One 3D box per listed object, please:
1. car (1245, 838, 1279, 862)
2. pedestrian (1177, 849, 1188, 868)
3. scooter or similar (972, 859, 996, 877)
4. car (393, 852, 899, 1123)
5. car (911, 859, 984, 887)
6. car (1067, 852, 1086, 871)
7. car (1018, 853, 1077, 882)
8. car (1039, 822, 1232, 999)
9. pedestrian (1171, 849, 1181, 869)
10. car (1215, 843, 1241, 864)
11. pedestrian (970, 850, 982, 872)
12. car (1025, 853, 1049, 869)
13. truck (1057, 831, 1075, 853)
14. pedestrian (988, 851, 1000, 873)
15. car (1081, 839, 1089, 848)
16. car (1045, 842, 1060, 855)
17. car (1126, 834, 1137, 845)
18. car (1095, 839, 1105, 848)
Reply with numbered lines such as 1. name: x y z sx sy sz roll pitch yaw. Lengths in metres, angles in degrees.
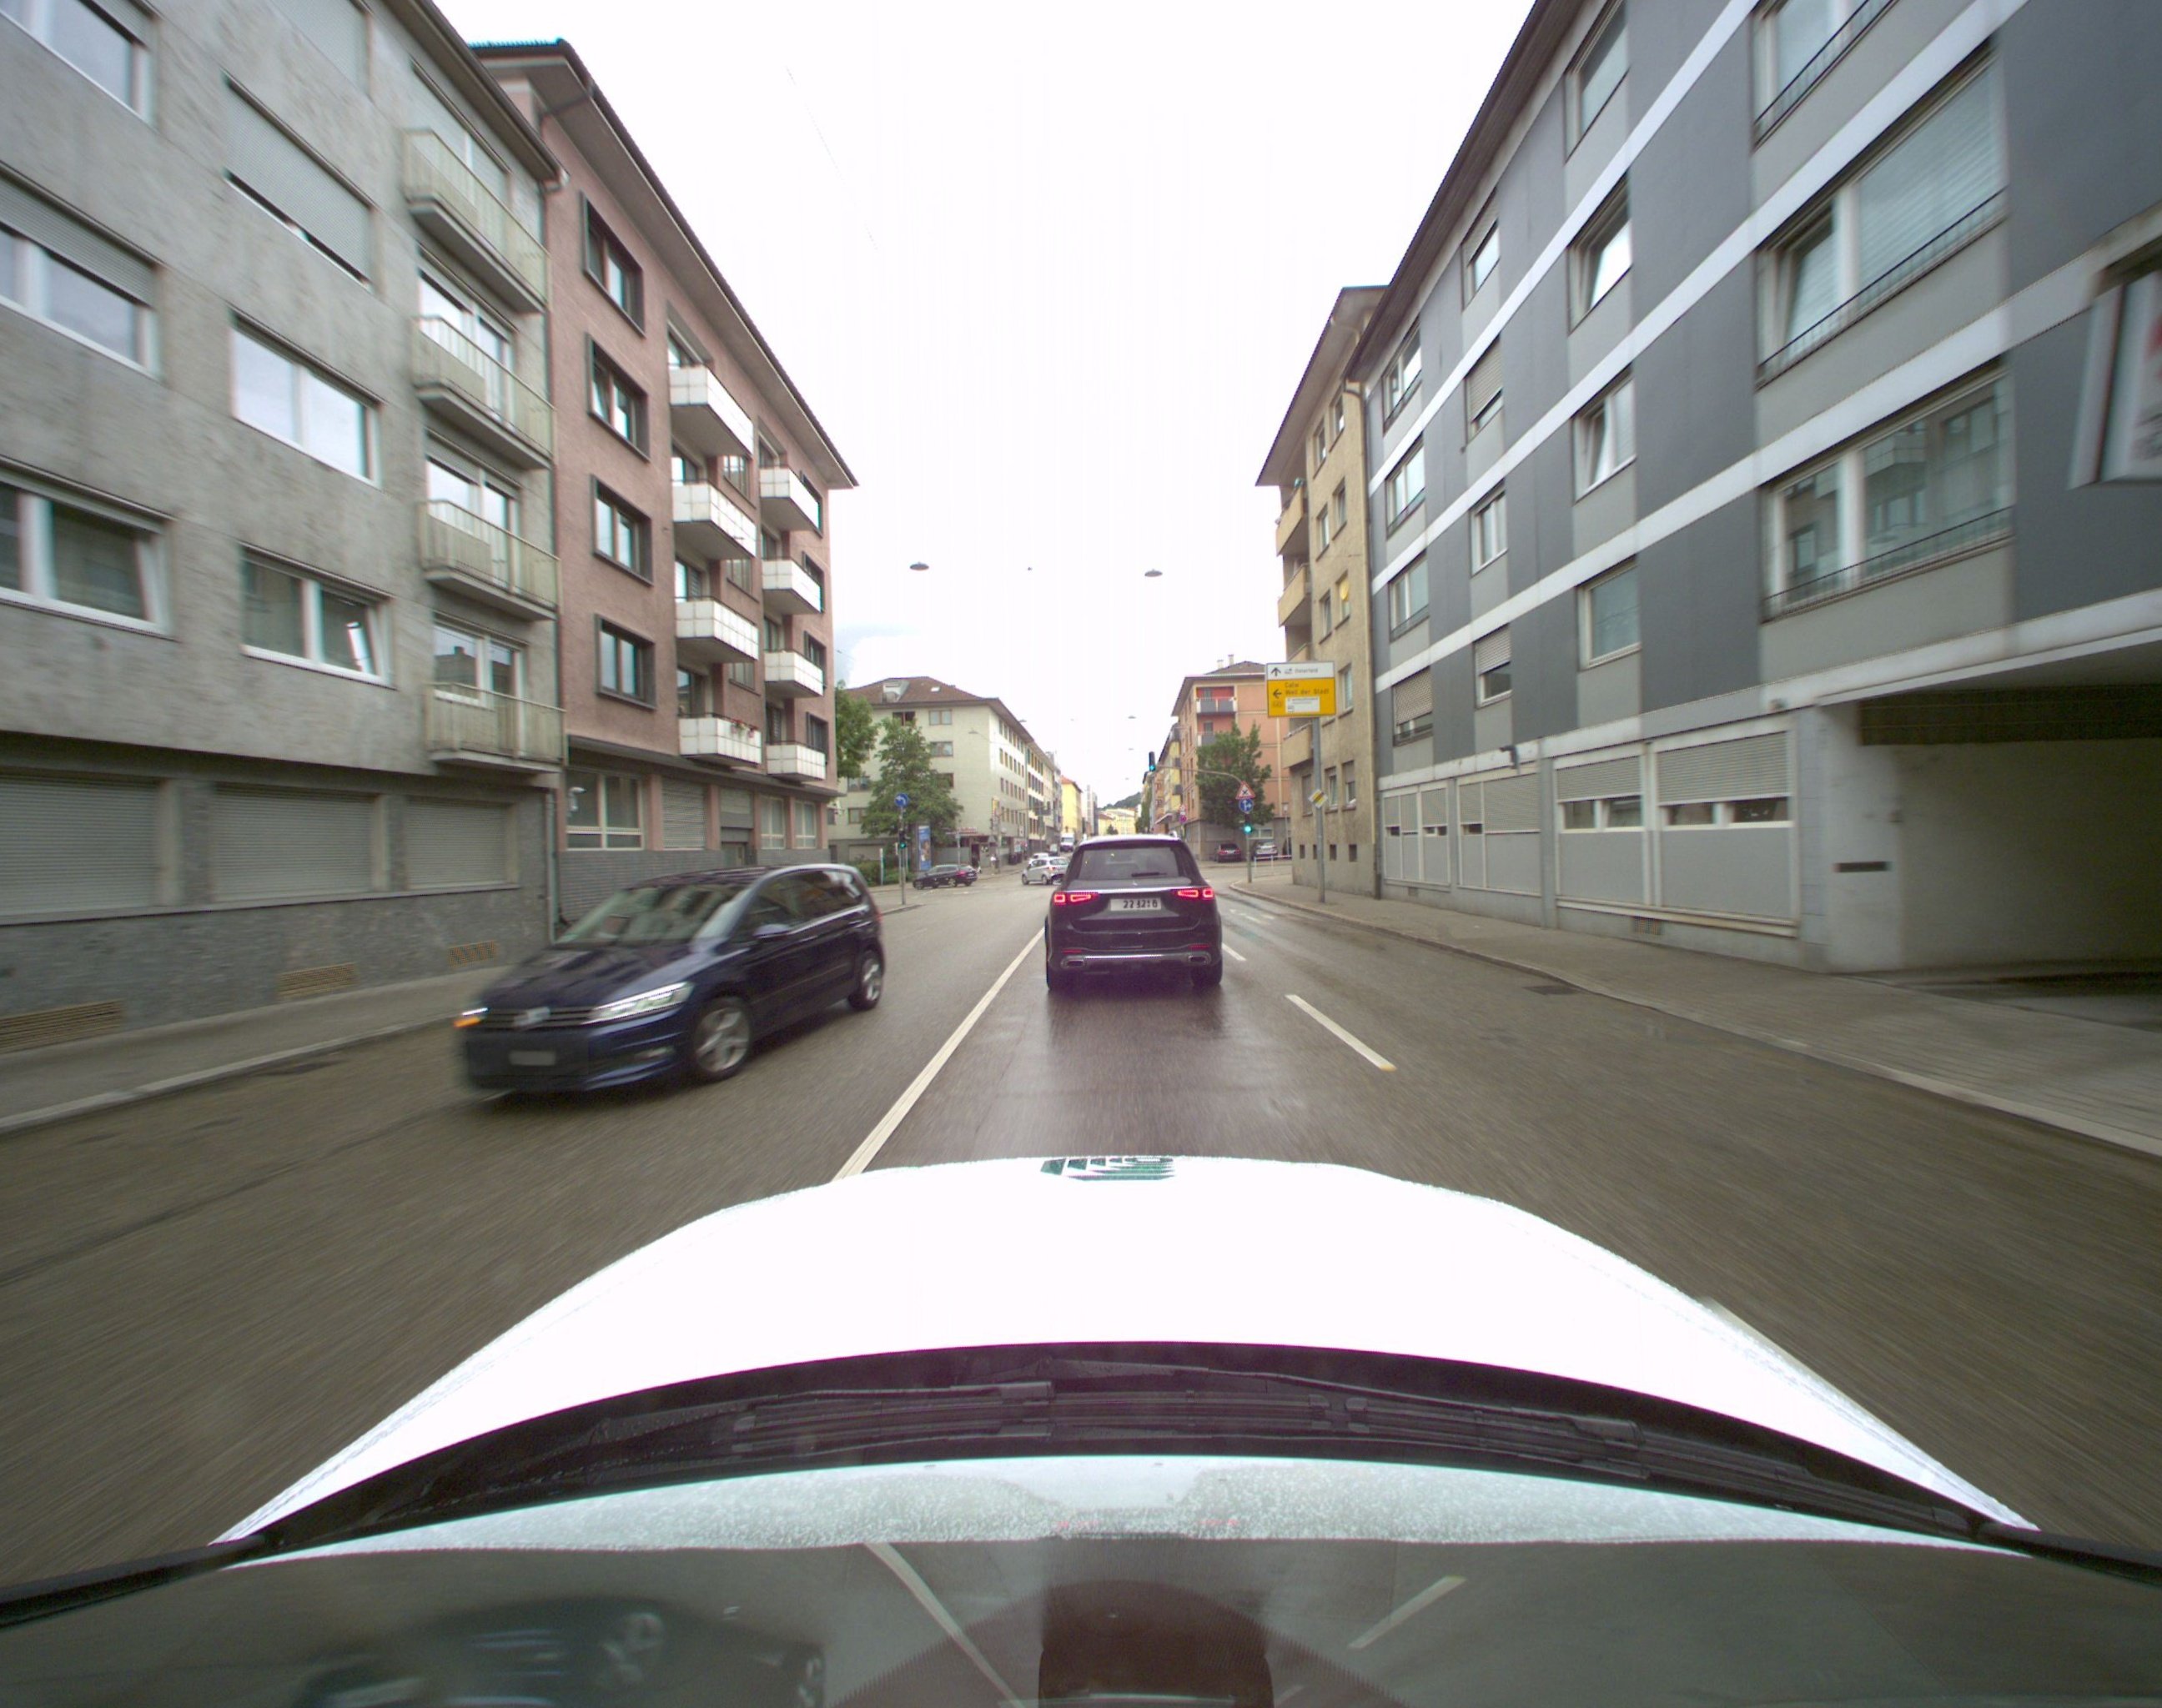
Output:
1. car: 14.424 -0.304 65.079 1.816 1.795 3.832 -2 0 1
2. pedestrian: 9.990 0.447 80.300 0.920 1.805 0.706 -2 -1 0
3. scooter or similar: -8.057 1.176 67.542 0.866 1.460 1.868 -2 -1 35
4. car: -3.305 0.862 7.415 1.763 1.645 4.420 -3 0 7
5. car: -8.620 1.220 52.508 4.303 1.539 1.789 -4 1 28
6. car: -0.403 0.711 72.053 1.613 1.539 4.216 -3 -1 0
7. car: -2.002 0.821 48.042 1.785 1.539 3.724 -2 -1 -33
8. car: 0.644 0.625 10.698 1.977 1.805 4.391 1 -1 2
9. pedestrian: 9.802 0.534 83.886 0.920 2.014 0.706 -2 -1 0
10. car: 11.713 -0.064 65.165 1.664 1.588 3.334 -2 0 4
11. pedestrian: -9.403 0.656 72.917 0.920 1.902 0.706 -2 -1 0
12. car: -3.872 0.662 71.872 1.879 1.264 4.216 -3 -1 0
13. truck: -2.291 -1.777 128.022 2.472 3.046 9.916 -3 -1 0
14. pedestrian: -6.975 0.651 65.381 0.630 1.764 0.777 -2 -1 18
15. car: 0.789 -2.079 164.623 1.613 1.539 4.216 -3 -1 0
16. car: -3.548 -0.664 102.600 1.613 1.539 4.216 -3 -1 0
17. car: 9.606 -2.759 156.249 1.718 1.760 4.216 -3 -1 0
18. car: 3.522 -1.945 150.340 1.613 1.539 4.216 -3 -1 0
